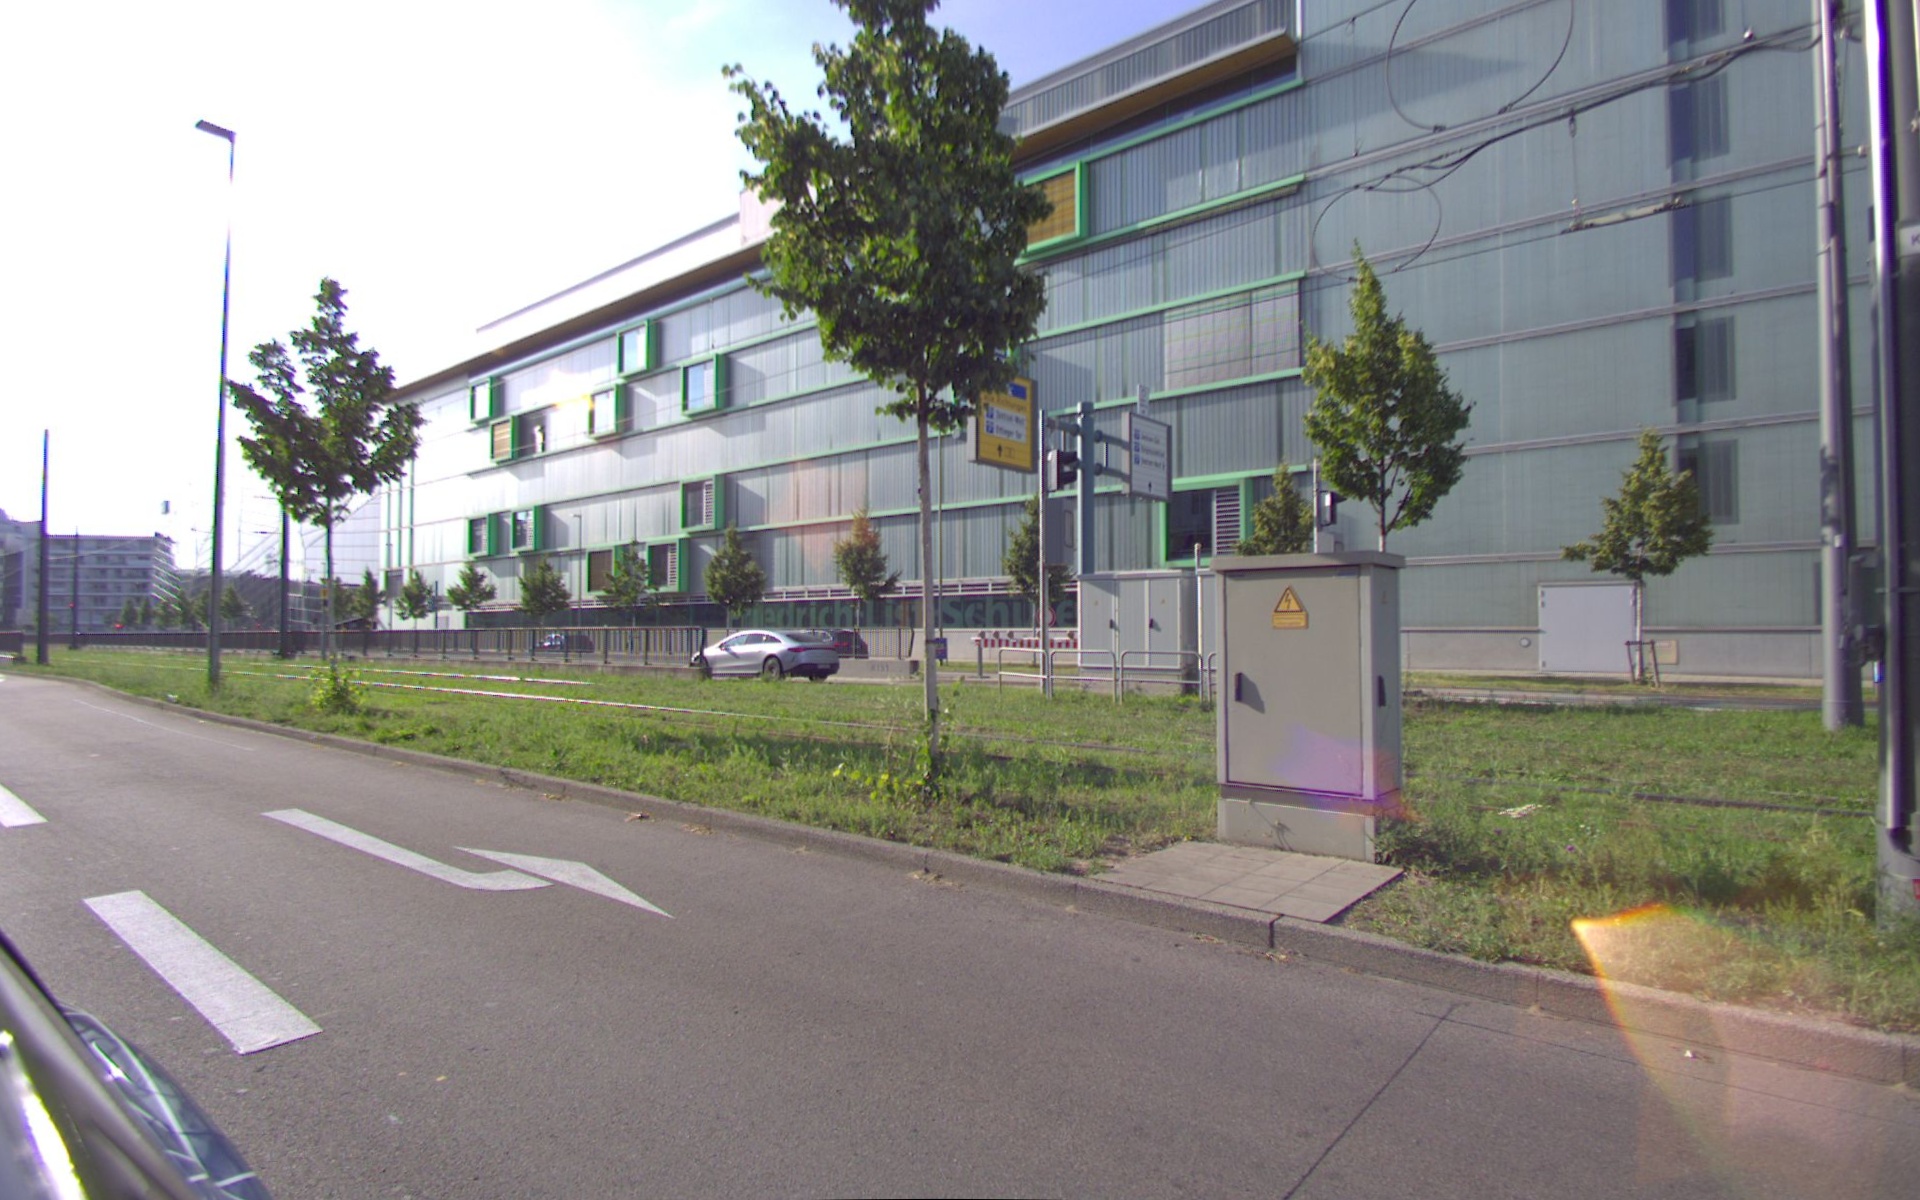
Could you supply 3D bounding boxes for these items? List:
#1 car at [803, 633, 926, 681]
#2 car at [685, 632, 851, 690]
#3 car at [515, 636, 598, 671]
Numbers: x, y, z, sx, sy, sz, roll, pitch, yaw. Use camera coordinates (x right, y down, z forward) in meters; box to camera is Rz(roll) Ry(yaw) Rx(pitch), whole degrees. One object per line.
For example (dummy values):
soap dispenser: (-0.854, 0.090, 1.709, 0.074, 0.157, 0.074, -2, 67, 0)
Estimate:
car: (-3.634, 2.110, 38.105, 4.612, 1.700, 1.973, -2, -3, 40)
car: (-5.634, 1.738, 29.372, 4.904, 1.539, 1.975, -2, -3, 37)
car: (-20.623, 2.734, 51.683, 4.722, 1.700, 1.973, -2, -3, 40)
